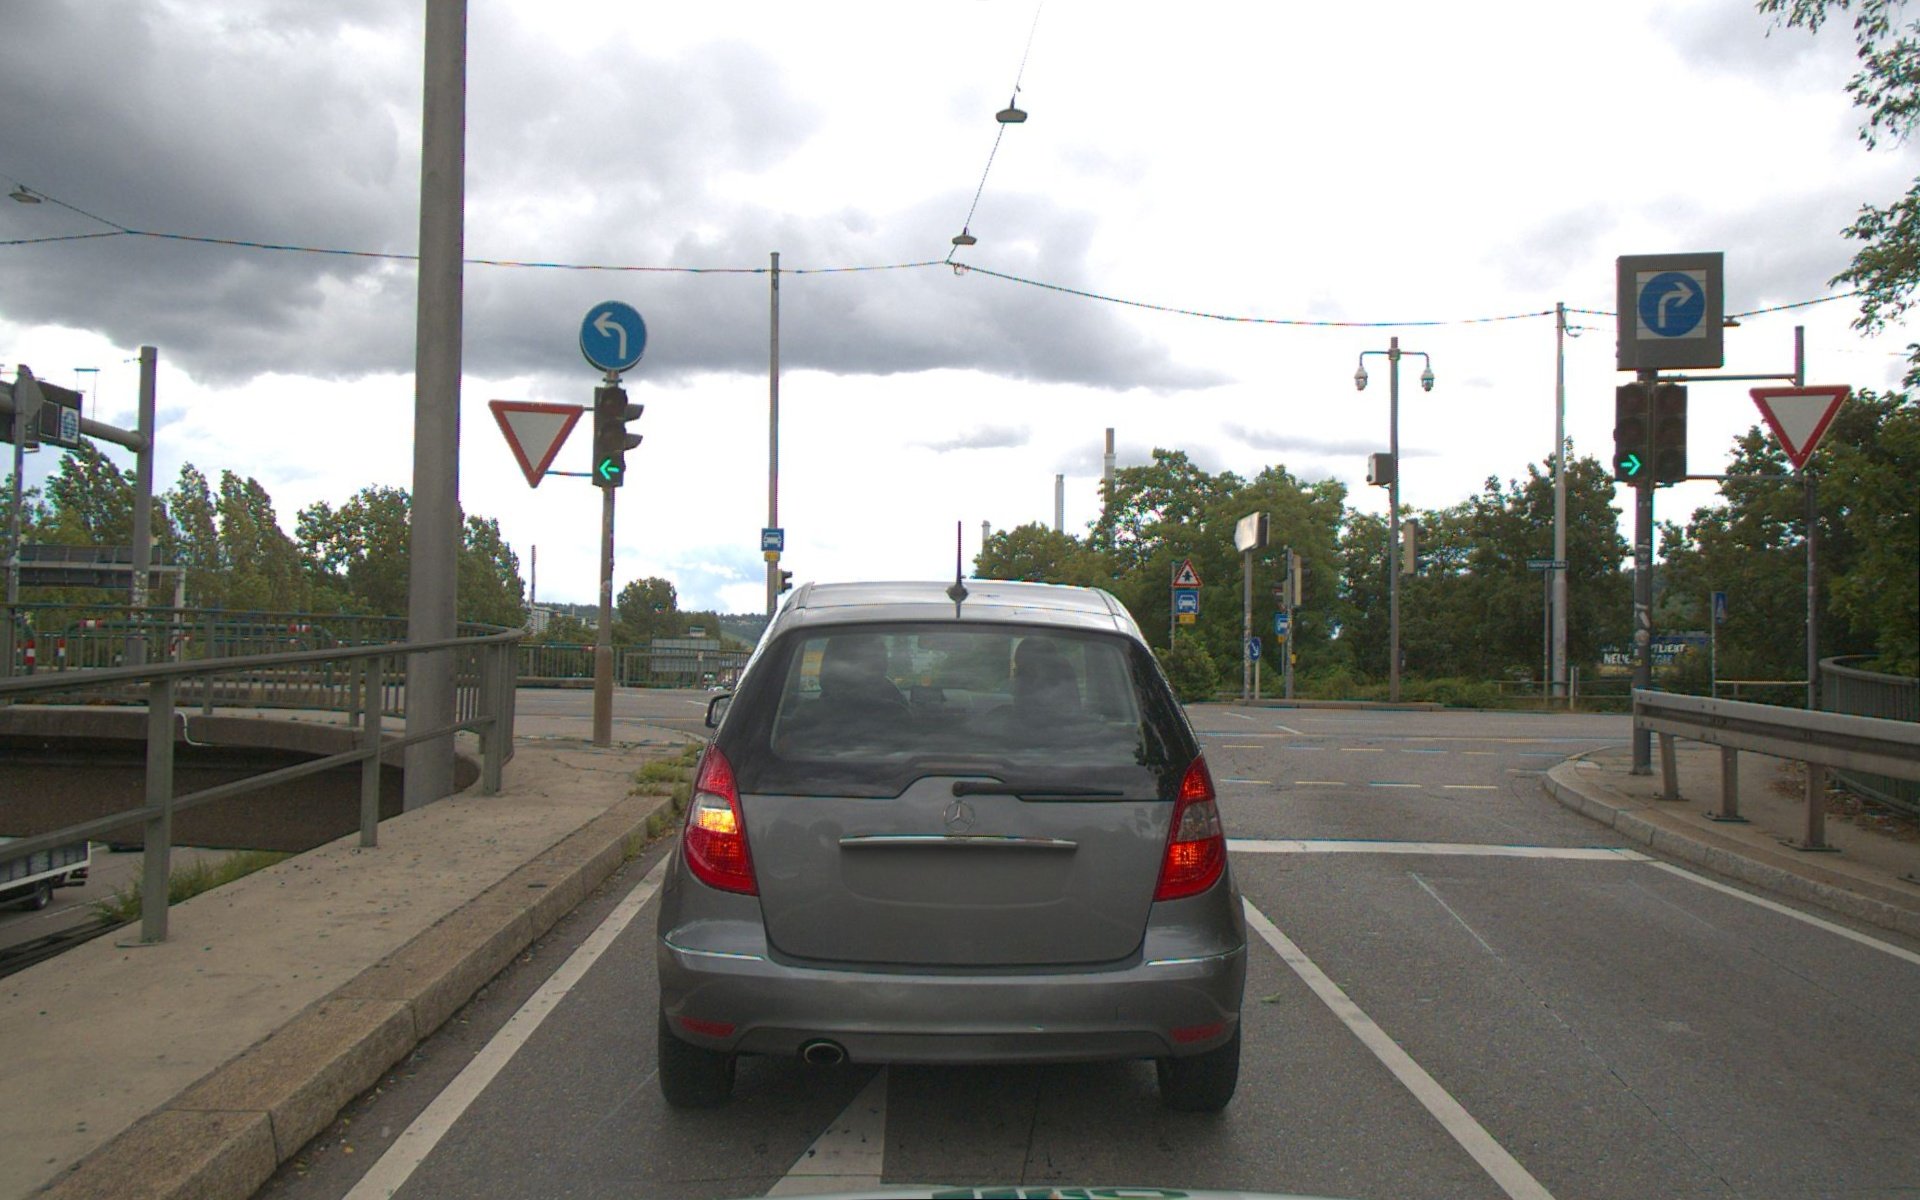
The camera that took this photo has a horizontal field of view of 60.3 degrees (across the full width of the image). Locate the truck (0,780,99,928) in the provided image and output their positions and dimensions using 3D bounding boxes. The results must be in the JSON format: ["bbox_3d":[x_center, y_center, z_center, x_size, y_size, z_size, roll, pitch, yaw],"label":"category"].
[{"bbox_3d":[-26.769,6.998,45.404,2.464,3.522,8.122,-1,-3,-4],"label":"truck"}]

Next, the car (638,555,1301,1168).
[{"bbox_3d":[0.008,0.690,6.079,1.704,1.570,3.540,1,0,-1],"label":"car"}]
